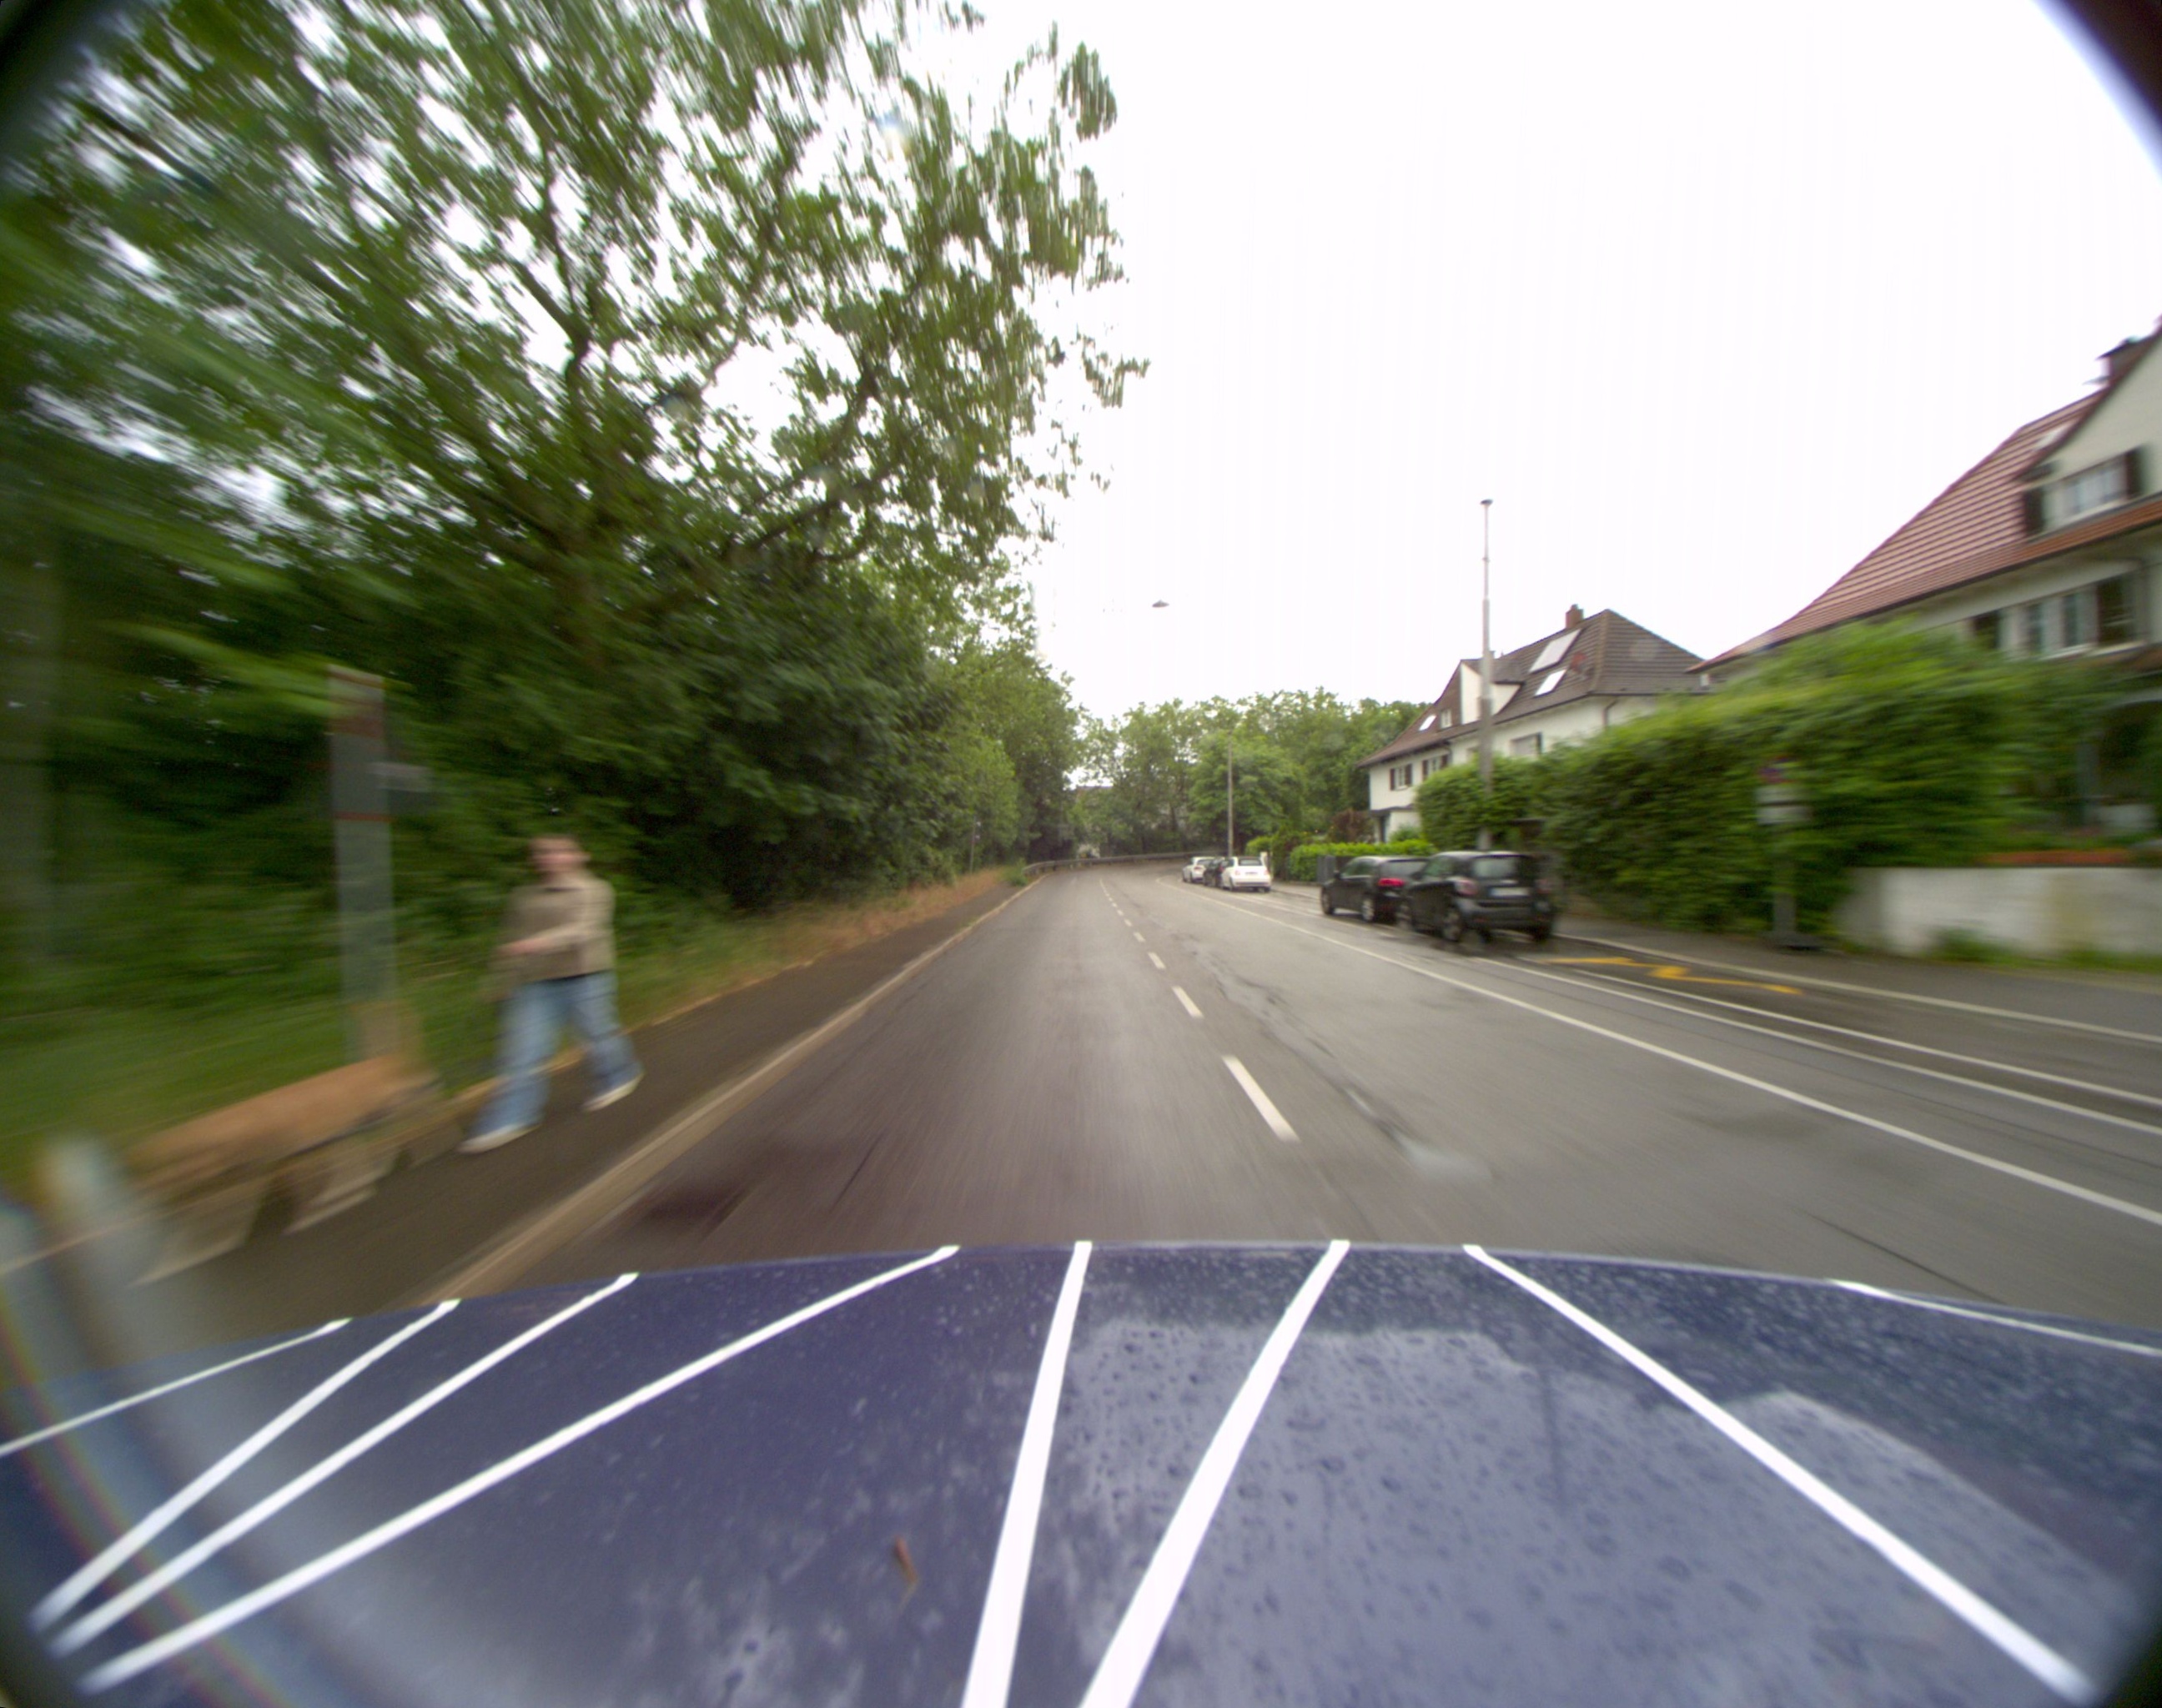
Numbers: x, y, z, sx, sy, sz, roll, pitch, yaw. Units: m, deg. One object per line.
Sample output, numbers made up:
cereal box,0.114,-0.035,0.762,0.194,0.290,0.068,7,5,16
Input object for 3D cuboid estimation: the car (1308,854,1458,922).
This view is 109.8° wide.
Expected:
car,6.873,0.705,17.804,1.692,1.410,4.214,0,0,-2

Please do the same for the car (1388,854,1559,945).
car,6.869,0.731,13.622,1.523,1.445,3.029,0,0,1

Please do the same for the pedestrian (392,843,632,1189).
pedestrian,-2.849,0.757,3.883,0.643,1.602,0.669,-1,2,-1

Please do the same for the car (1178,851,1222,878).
car,6.673,0.617,43.017,1.737,1.413,4.283,0,-1,-2

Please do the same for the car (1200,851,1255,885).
car,7.098,0.633,37.269,1.702,1.516,4.422,-2,1,-1

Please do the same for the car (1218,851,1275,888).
car,7.104,0.632,32.939,1.702,1.459,3.711,-2,1,1
